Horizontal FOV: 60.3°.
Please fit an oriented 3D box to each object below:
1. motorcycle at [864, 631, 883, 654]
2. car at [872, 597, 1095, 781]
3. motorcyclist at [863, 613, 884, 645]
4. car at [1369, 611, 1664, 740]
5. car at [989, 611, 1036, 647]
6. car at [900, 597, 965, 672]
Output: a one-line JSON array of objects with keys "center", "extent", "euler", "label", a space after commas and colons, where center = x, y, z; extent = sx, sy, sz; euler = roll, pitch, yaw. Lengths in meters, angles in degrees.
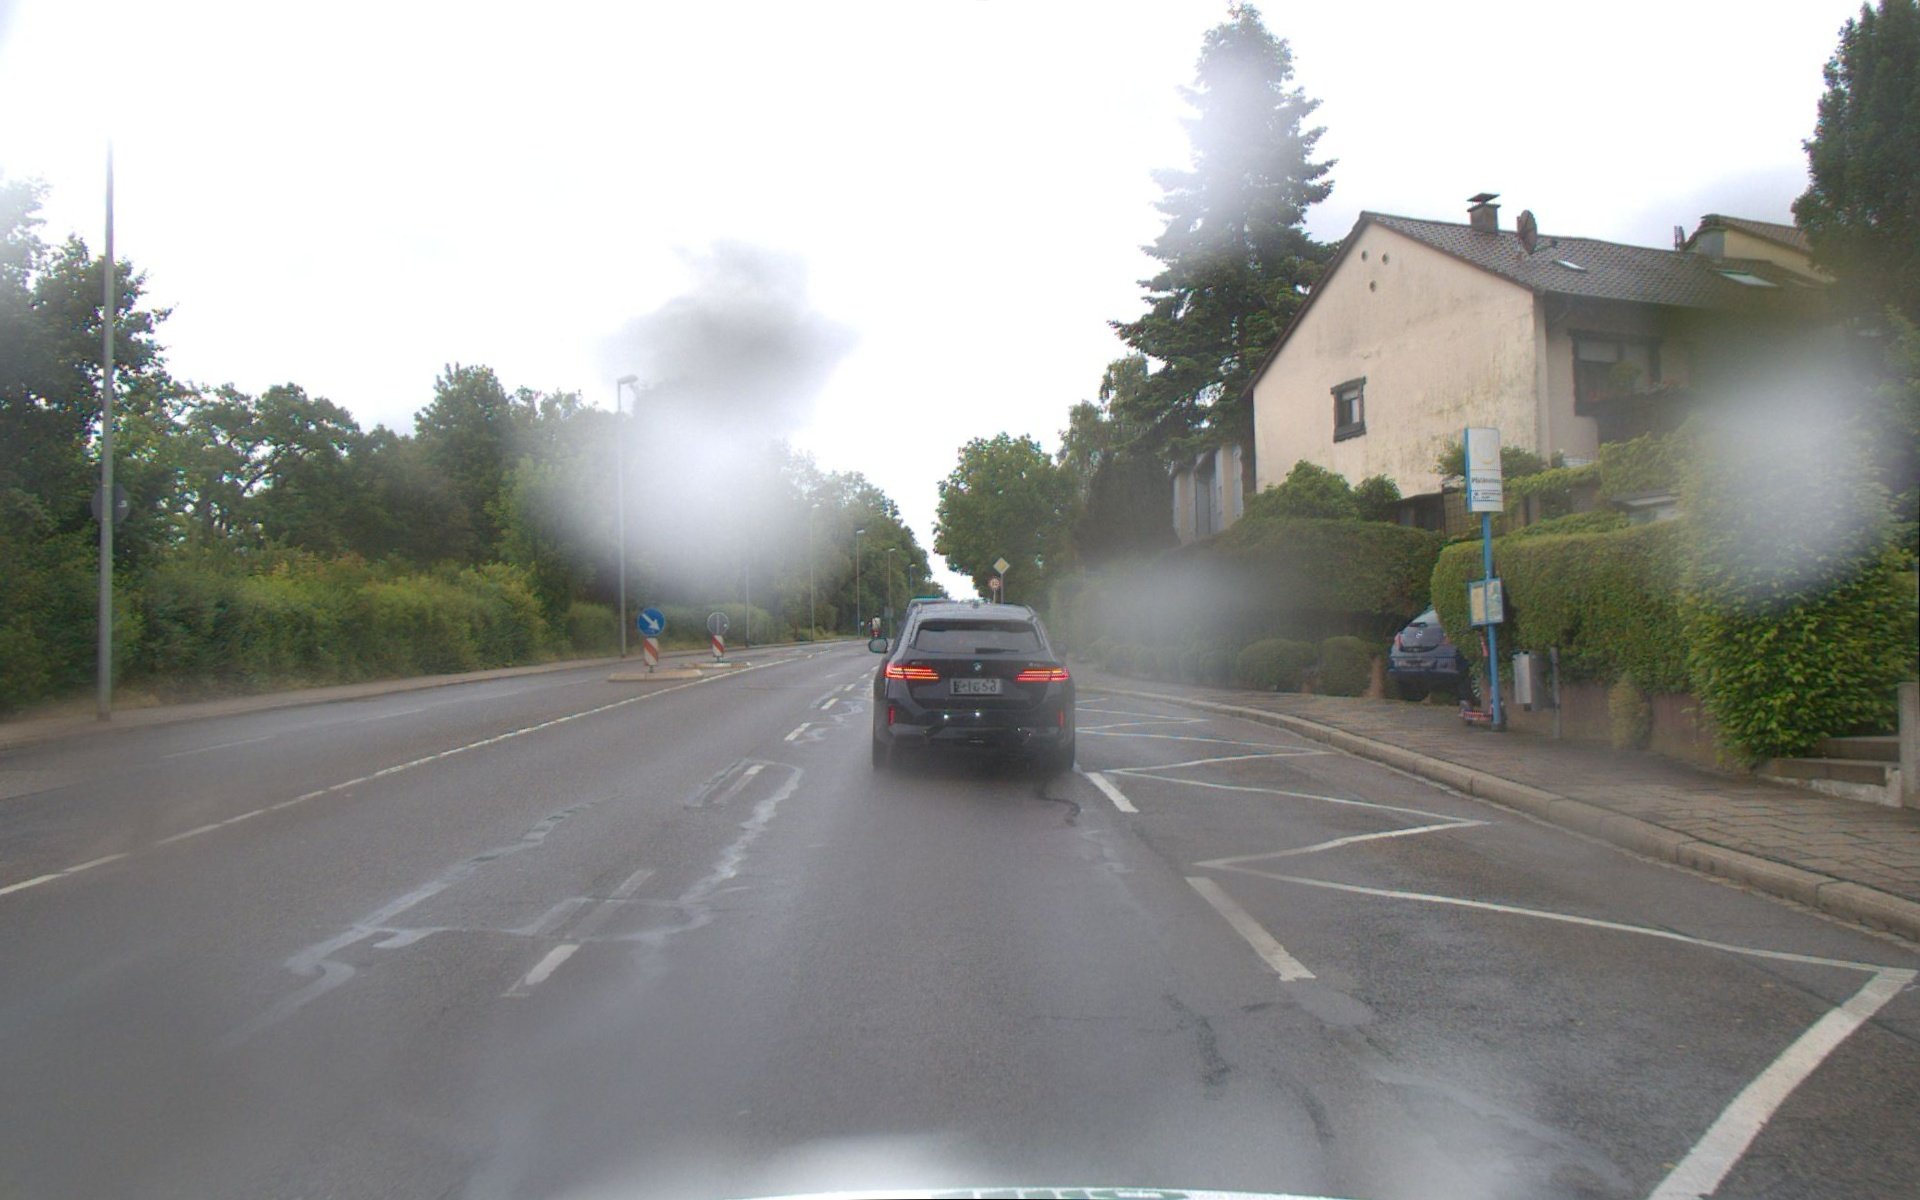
[{"center": [-4.415, 2.148, 84.503], "extent": [0.858, 1.144, 2.740], "euler": [1, -1, -1], "label": "motorcycle"}, {"center": [0.198, 0.768, 15.981], "extent": [1.858, 1.515, 4.000], "euler": [1, 0, 0], "label": "car"}, {"center": [-4.395, 1.469, 84.462], "extent": [1.018, 1.595, 0.855], "euler": [1, -1, -2], "label": "motorcyclist"}, {"center": [7.903, 1.085, 23.507], "extent": [3.645, 1.320, 1.761], "euler": [9, -5, -21], "label": "car"}, {"center": [2.242, 1.218, 70.898], "extent": [1.895, 1.467, 4.408], "euler": [-1, 0, 1], "label": "car"}, {"center": [-0.742, 0.879, 44.283], "extent": [1.596, 1.865, 3.999], "euler": [-2, 0, -1], "label": "car"}]
